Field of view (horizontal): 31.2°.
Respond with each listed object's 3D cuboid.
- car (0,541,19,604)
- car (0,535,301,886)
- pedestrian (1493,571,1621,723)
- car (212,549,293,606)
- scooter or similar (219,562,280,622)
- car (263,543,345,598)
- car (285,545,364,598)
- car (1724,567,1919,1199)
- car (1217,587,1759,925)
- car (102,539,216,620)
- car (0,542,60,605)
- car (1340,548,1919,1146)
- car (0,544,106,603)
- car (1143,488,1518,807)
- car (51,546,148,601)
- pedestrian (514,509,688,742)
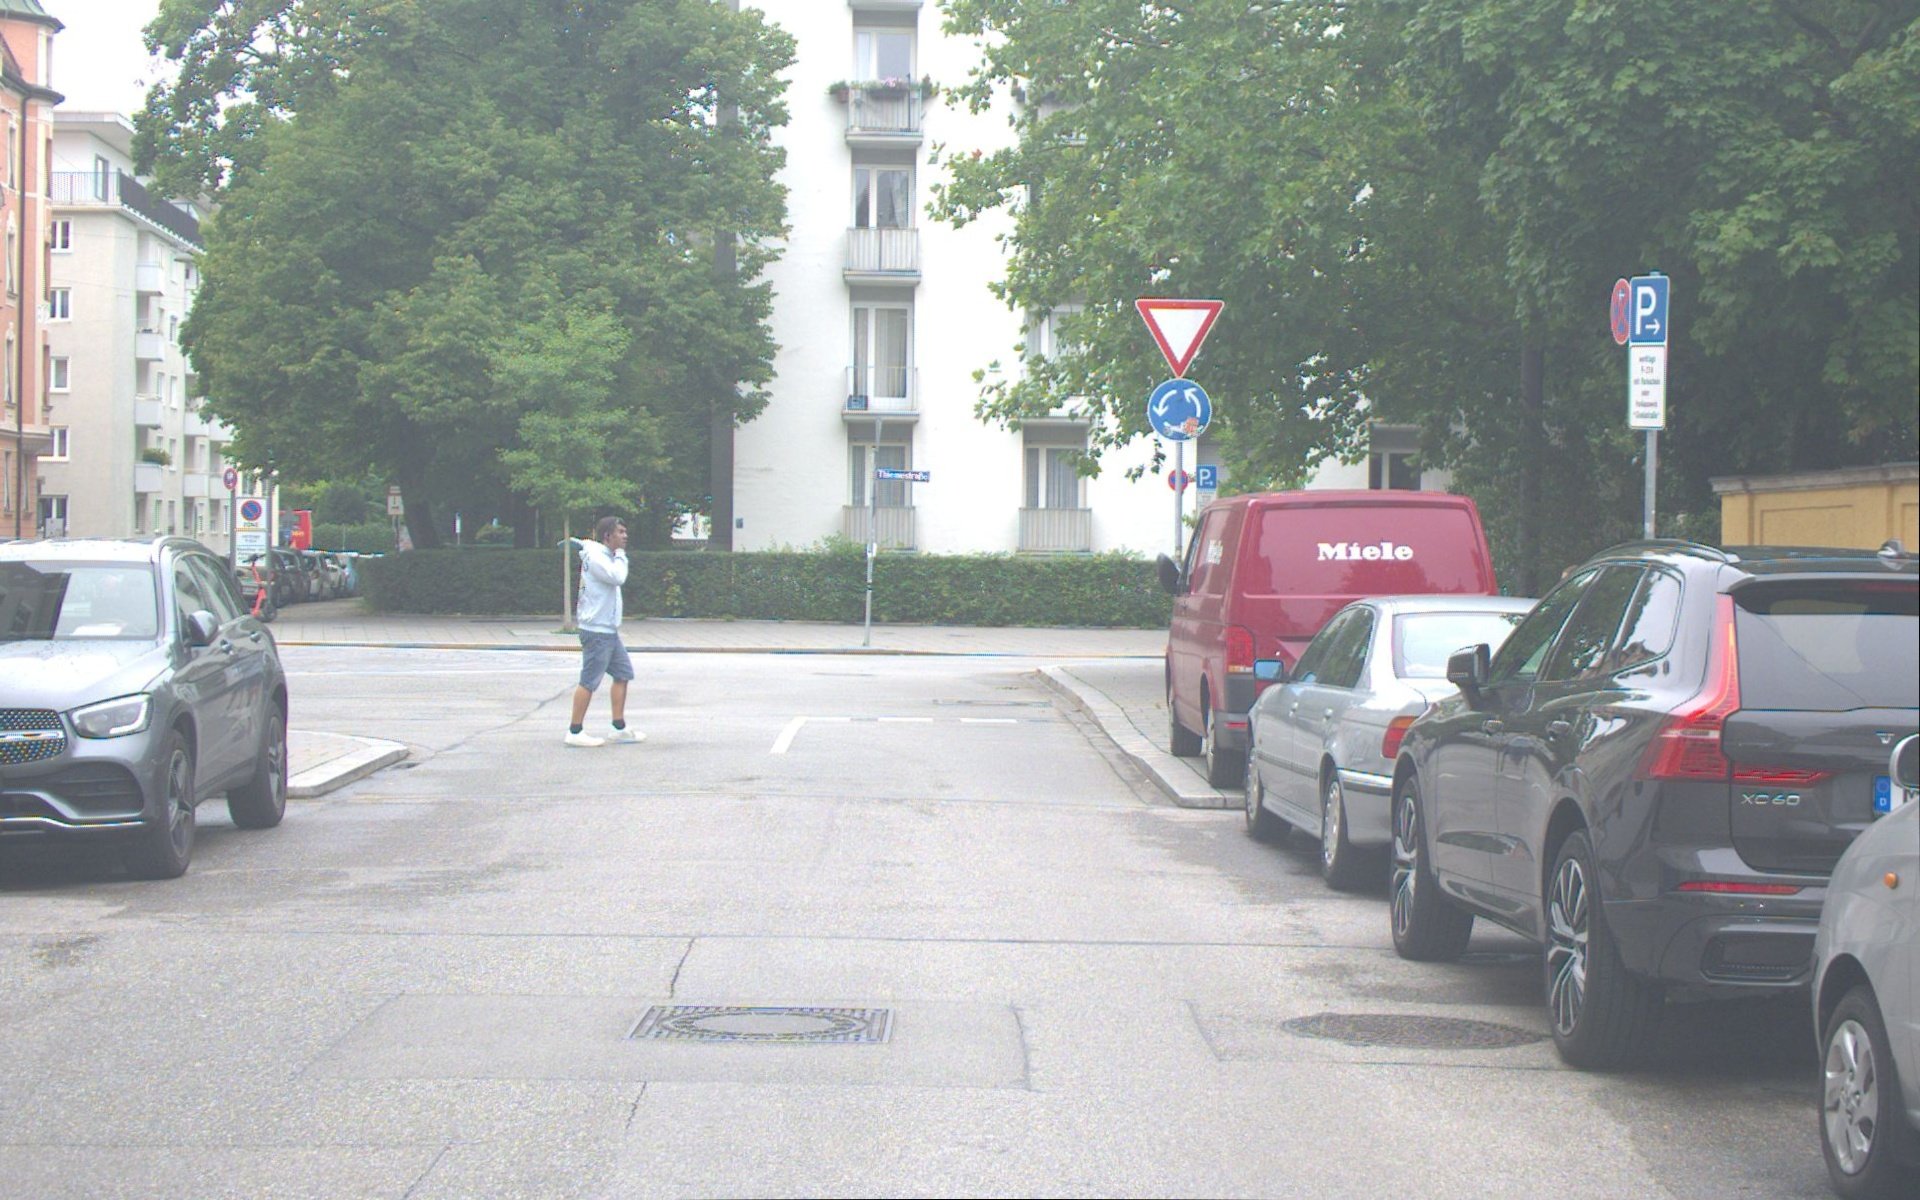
[{"bbox_3d":[-25.028,-0.702,85.882,1.975,1.575,4.408,2,1,-3],"label":"car"},{"bbox_3d":[-4.664,0.478,17.853,1.746,1.597,4.497,0,1,-2],"label":"car"},{"bbox_3d":[5.377,0.417,31.030,1.009,1.333,0.876,1,0,3],"label":"pedestrian"},{"bbox_3d":[-18.947,-0.620,92.194,1.834,1.500,4.116,0,1,-7],"label":"car"},{"bbox_3d":[-13.042,-0.144,63.085,0.999,1.085,0.390,1,0,-31],"label":"scooter or similar"},{"bbox_3d":[-19.531,-0.887,102.458,1.835,1.629,3.820,0,1,-2],"label":"car"},{"bbox_3d":[-19.672,-0.894,106.501,1.835,1.629,3.820,0,1,-2],"label":"car"},{"bbox_3d":[2.901,0.745,7.256,1.484,1.534,3.693,3,1,-3],"label":"car"},{"bbox_3d":[2.631,0.724,18.235,1.884,1.443,4.369,3,1,-4],"label":"car"},{"bbox_3d":[-15.269,-0.412,65.679,1.818,1.500,4.423,0,1,-9],"label":"car"},{"bbox_3d":[-25.298,-0.727,90.877,1.975,1.575,4.408,2,1,-3],"label":"car"},{"bbox_3d":[2.696,0.694,12.137,1.884,1.647,4.824,3,1,-3],"label":"car"},{"bbox_3d":[-25.761,-0.768,97.785,1.975,1.575,4.408,2,1,-3],"label":"car"},{"bbox_3d":[2.451,0.270,23.963,1.874,1.914,4.888,3,1,-2],"label":"car"},{"bbox_3d":[-26.103,-0.805,104.367,1.975,1.575,4.408,2,1,-3],"label":"car"},{"bbox_3d":[-2.789,0.189,26.677,1.048,1.765,0.877,1,0,-29],"label":"pedestrian"}]
